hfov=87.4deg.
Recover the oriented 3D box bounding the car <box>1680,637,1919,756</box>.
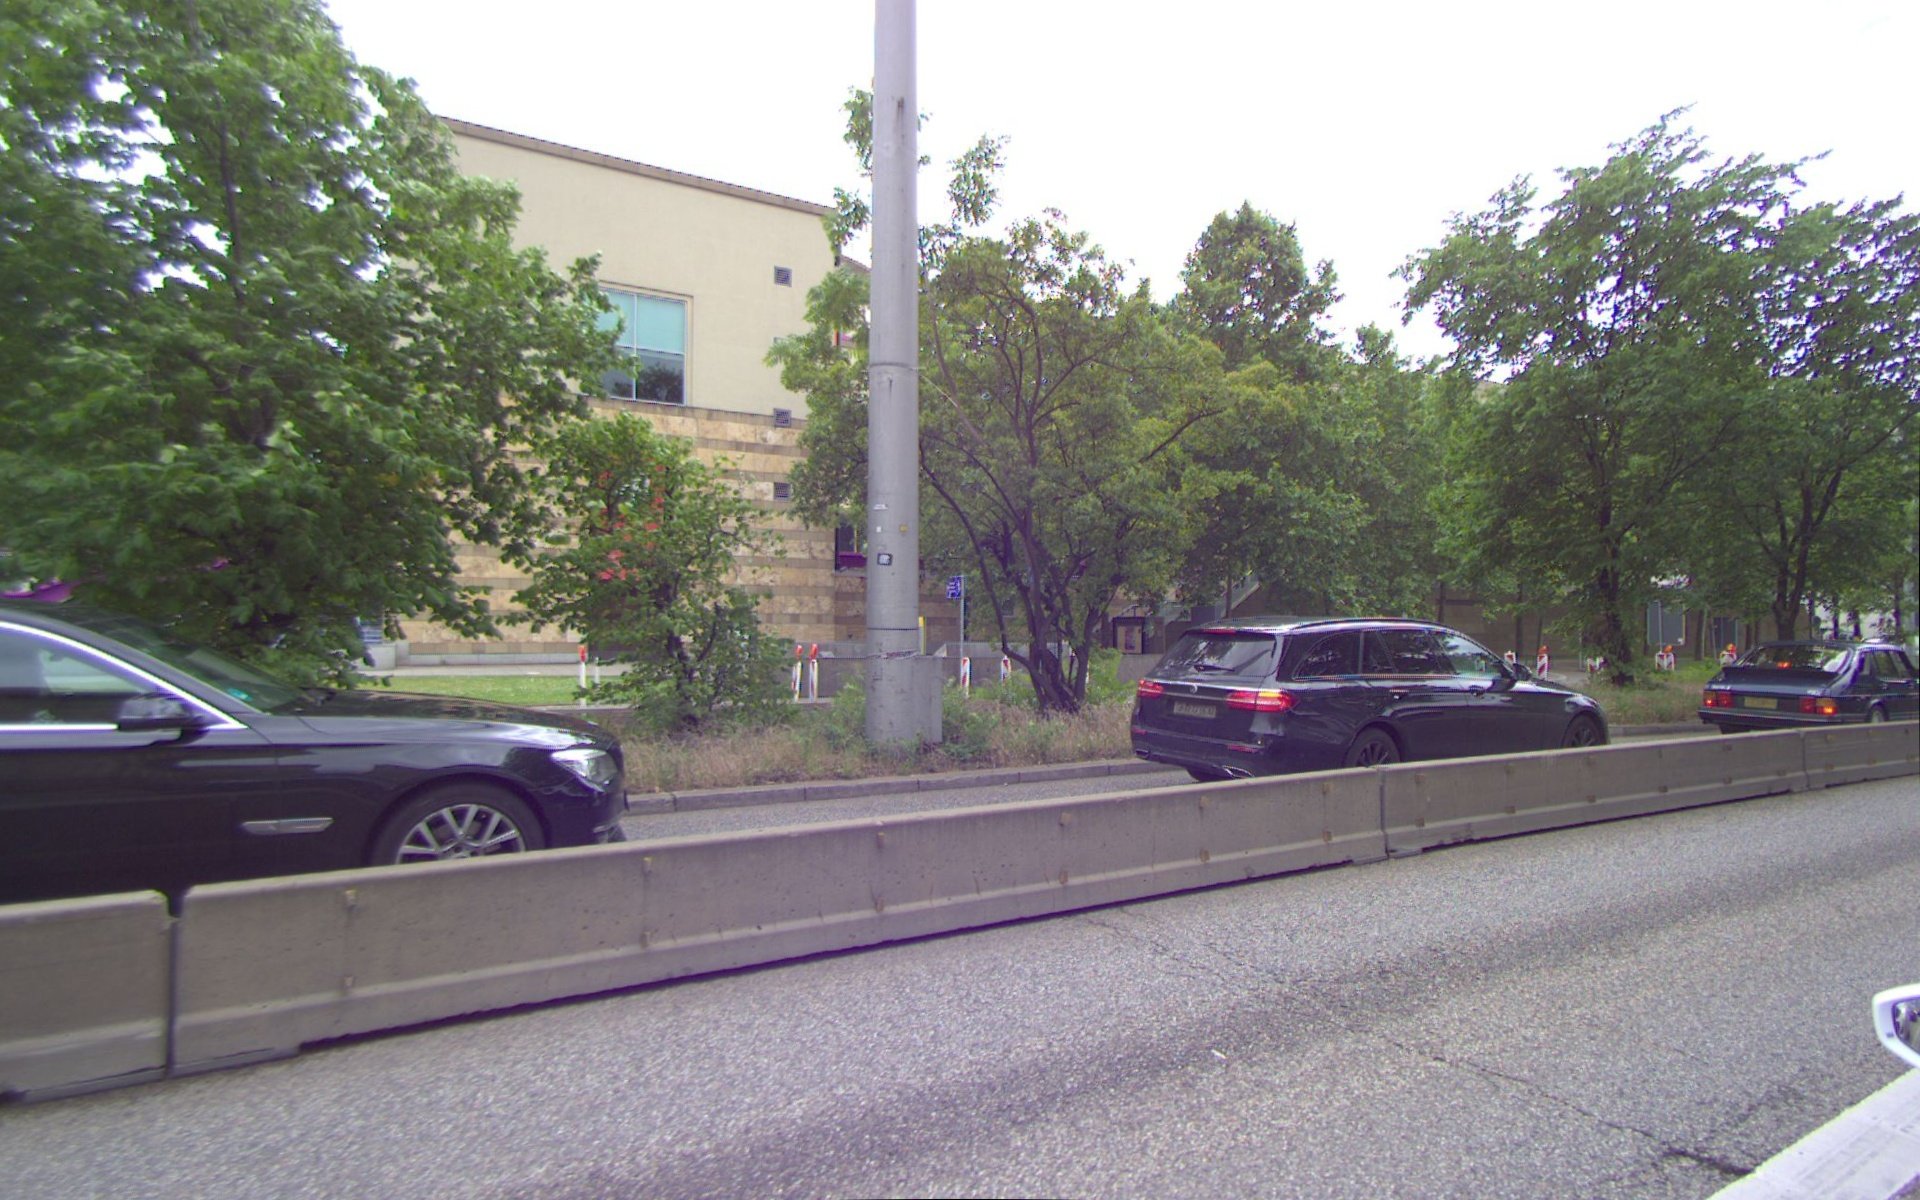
[{"bbox_3d":[11.969,1.223,13.838,4.489,1.385,1.670,1,-2,-30],"label":"car"}]

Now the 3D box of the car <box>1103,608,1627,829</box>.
[{"bbox_3d":[3.691,0.884,8.893,4.712,1.519,1.808,1,-2,-30],"label":"car"}]

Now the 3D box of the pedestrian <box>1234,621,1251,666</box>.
[{"bbox_3d":[12.942,1.985,46.022,0.657,2.040,0.449,1,-1,-30],"label":"pedestrian"}]

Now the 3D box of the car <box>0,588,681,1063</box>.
[{"bbox_3d":[-3.890,0.789,4.309,4.877,1.657,1.915,2,-1,-29],"label":"car"}]

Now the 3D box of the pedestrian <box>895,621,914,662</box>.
[{"bbox_3d":[-2.185,1.635,39.528,0.616,1.590,0.434,1,-1,-37],"label":"pedestrian"}]
